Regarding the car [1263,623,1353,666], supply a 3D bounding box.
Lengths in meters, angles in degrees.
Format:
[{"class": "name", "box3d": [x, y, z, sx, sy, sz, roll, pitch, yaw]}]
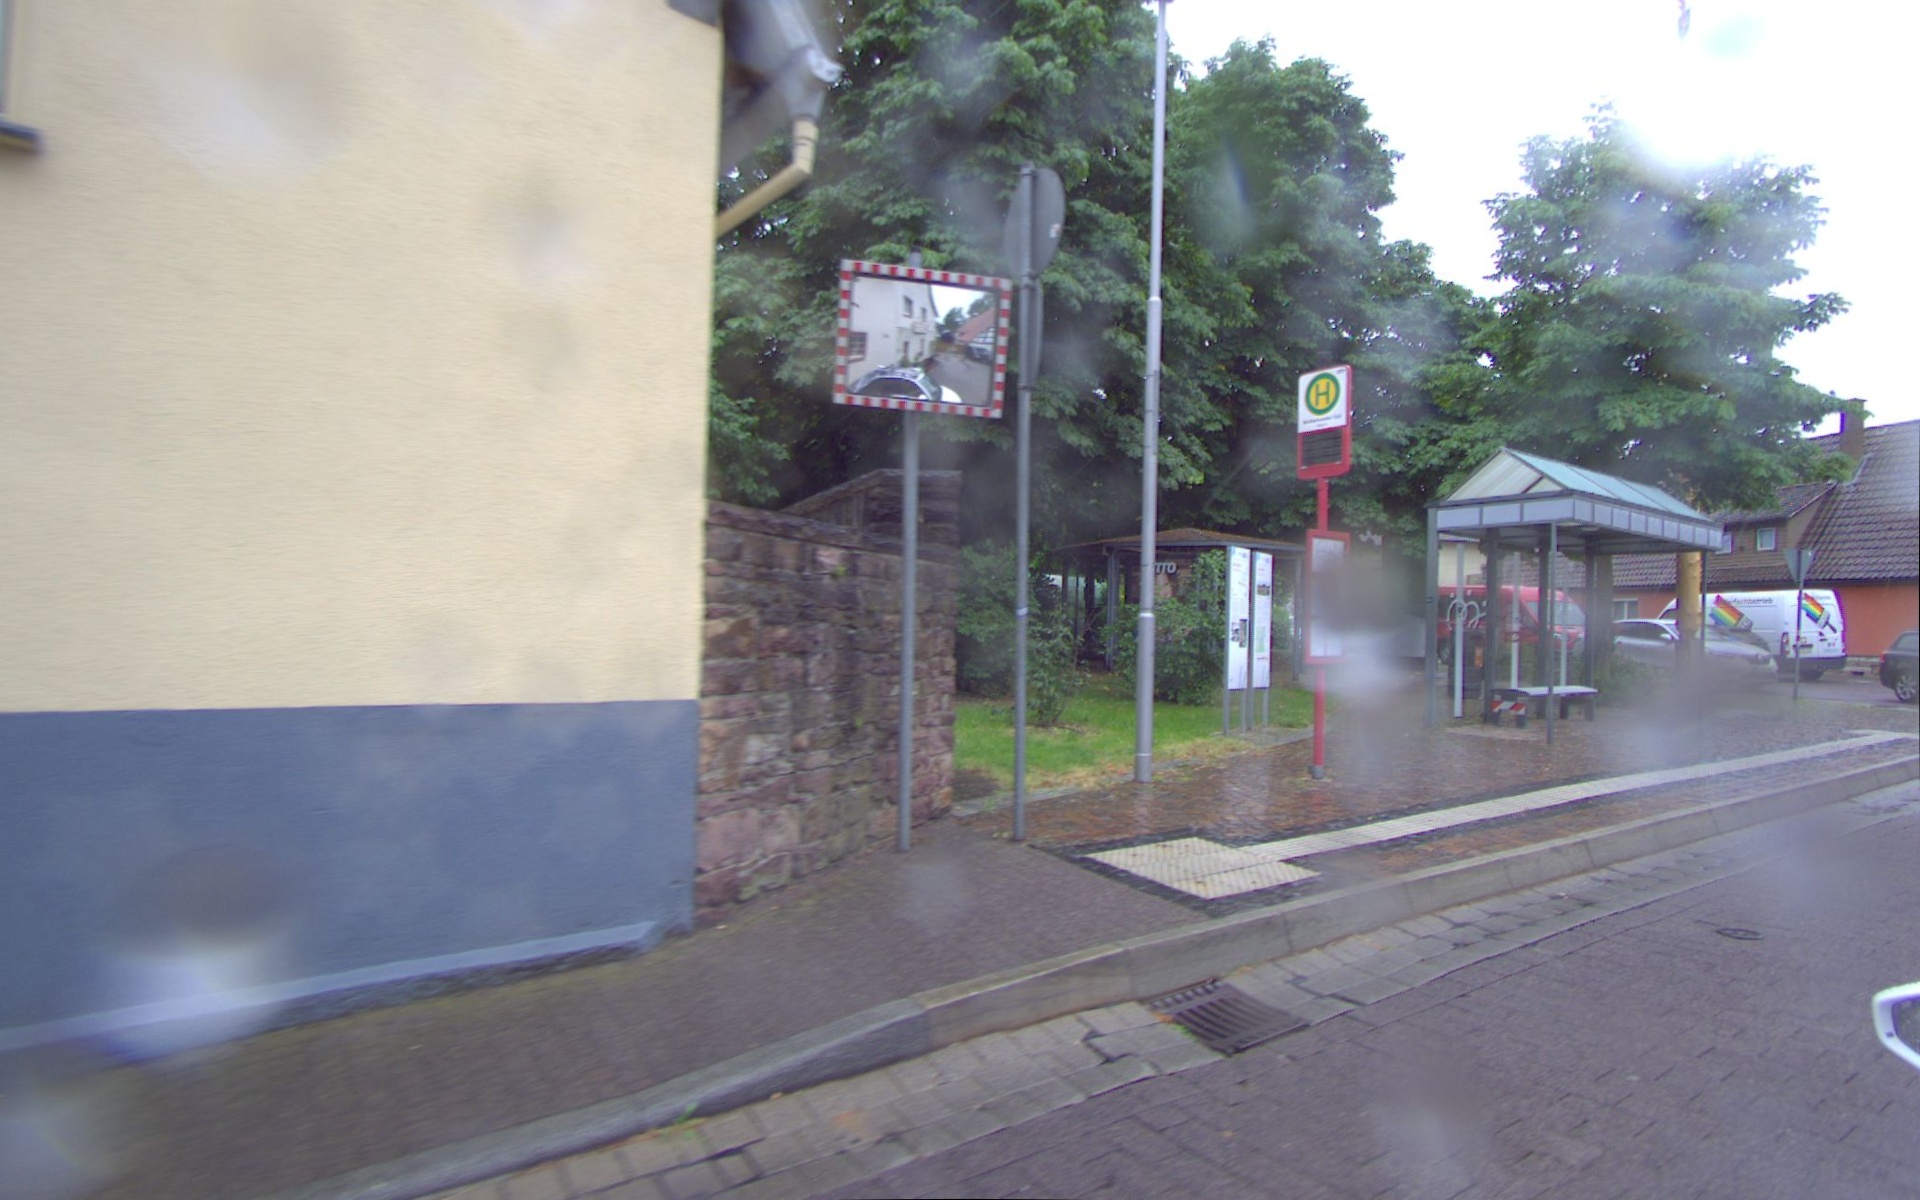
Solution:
[{"class": "car", "box3d": [13.980, 1.774, 40.618, 1.769, 1.570, 3.805, 3, -1, -10]}]

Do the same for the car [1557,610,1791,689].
[{"class": "car", "box3d": [16.995, 1.115, 24.224, 1.850, 1.570, 4.448, 2, 1, -13]}]

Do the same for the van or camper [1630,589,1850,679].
[{"class": "van or camper", "box3d": [23.019, 0.975, 29.978, 2.171, 2.468, 5.152, 0, -1, -8]}]

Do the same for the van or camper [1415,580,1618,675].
[{"class": "van or camper", "box3d": [16.379, 0.702, 30.063, 2.116, 2.506, 5.868, 2, 1, -9]}]

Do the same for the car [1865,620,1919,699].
[{"class": "car", "box3d": [19.442, 1.212, 18.416, 1.813, 1.497, 4.314, 2, 1, 1]}]

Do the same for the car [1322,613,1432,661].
[{"class": "car", "box3d": [14.968, 1.307, 36.251, 1.770, 1.570, 3.803, 3, -1, -13]}]

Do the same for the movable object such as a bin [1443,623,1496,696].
[{"class": "movable object such as a bin", "box3d": [8.334, 0.965, 16.435, 0.599, 1.161, 0.558, 4, -2, -36]}]
